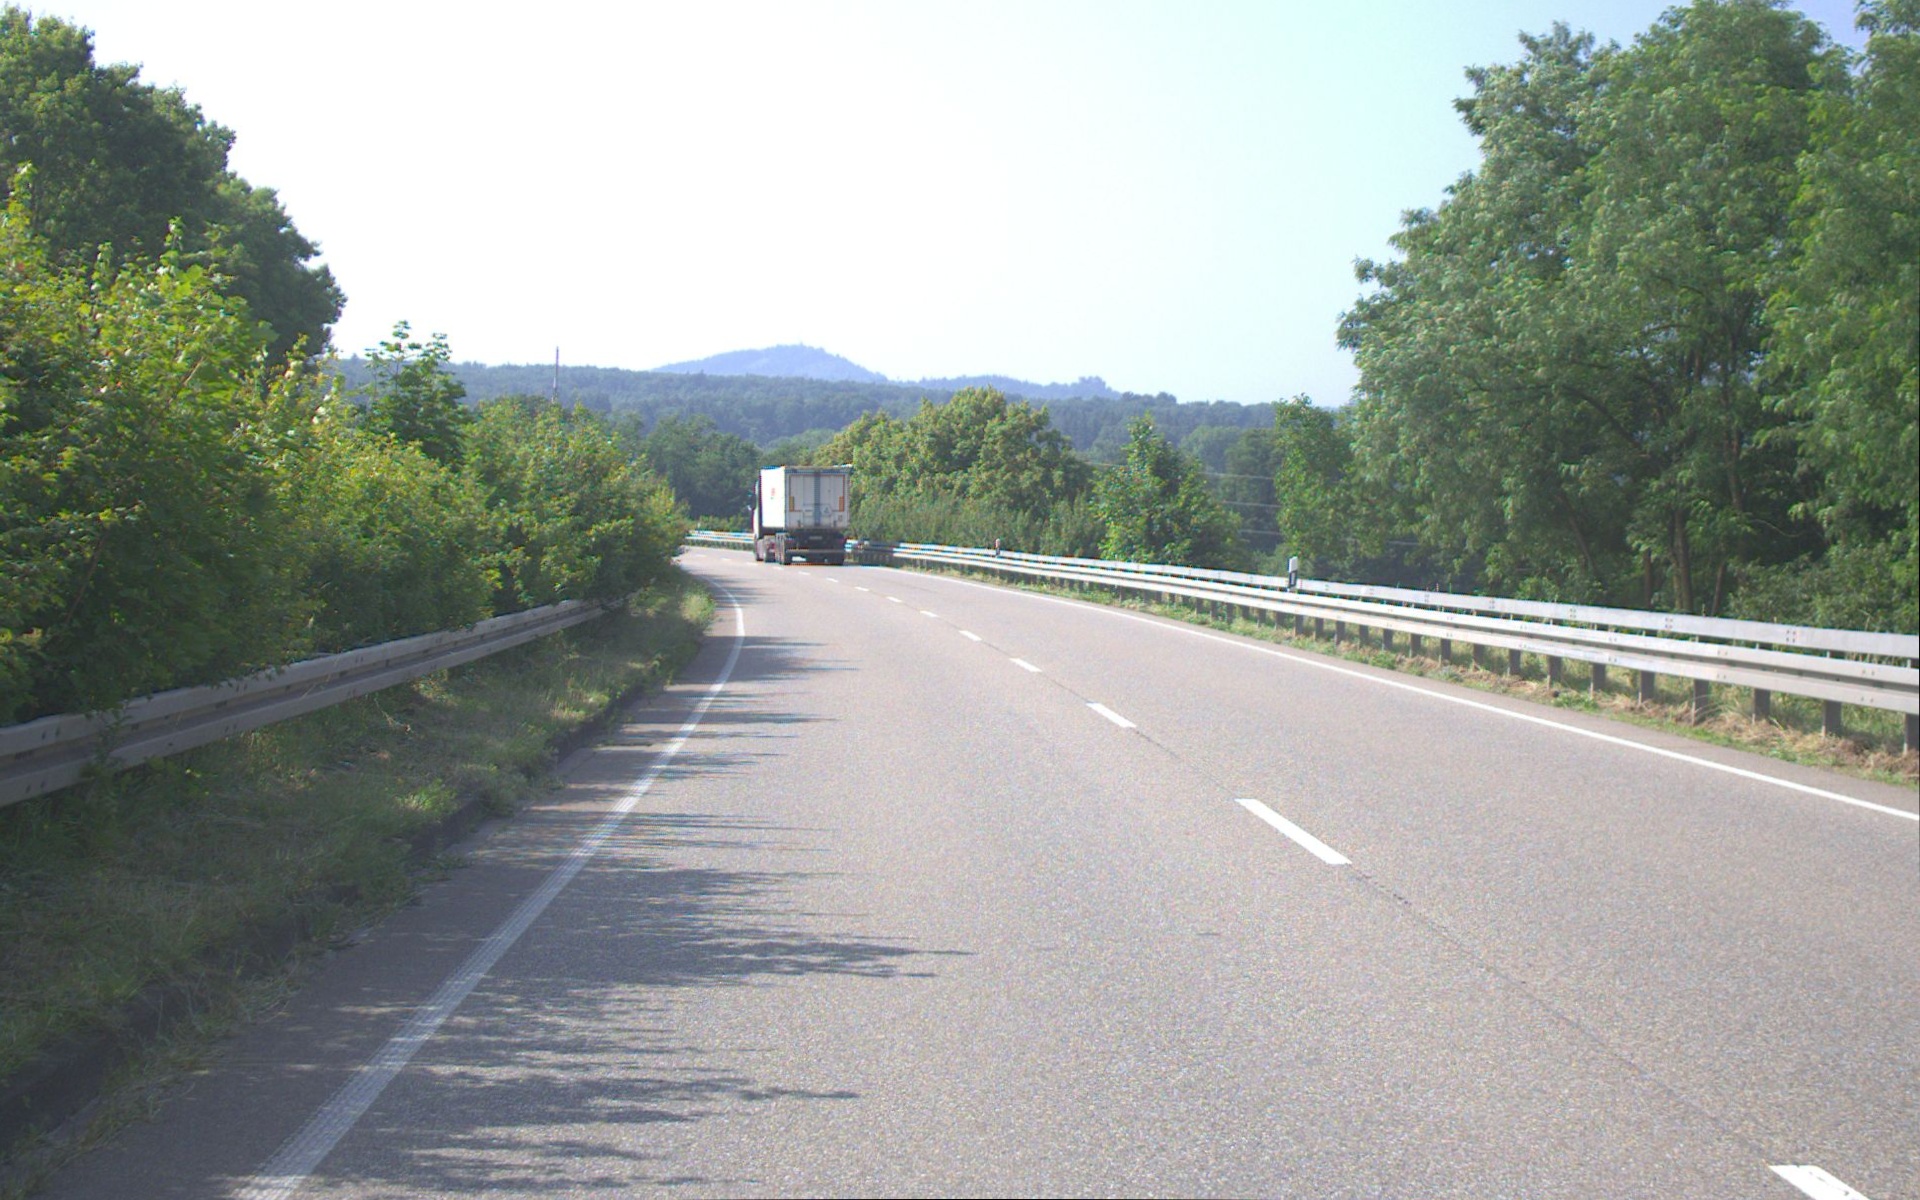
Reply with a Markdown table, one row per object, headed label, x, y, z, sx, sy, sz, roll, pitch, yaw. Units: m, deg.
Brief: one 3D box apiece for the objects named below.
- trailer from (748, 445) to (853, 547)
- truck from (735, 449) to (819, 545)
| label | x | y | z | sx | sy | sz | roll | pitch | yaw |
| --- | --- | --- | --- | --- | --- | --- | --- | --- | --- |
| trailer | -6.440 | -4.143 | 137.209 | 2.678 | 3.893 | 9.676 | 0 | 2 | -12 |
| truck | -7.660 | -4.307 | 143.158 | 2.658 | 3.882 | 5.650 | 0 | 2 | -11 |
